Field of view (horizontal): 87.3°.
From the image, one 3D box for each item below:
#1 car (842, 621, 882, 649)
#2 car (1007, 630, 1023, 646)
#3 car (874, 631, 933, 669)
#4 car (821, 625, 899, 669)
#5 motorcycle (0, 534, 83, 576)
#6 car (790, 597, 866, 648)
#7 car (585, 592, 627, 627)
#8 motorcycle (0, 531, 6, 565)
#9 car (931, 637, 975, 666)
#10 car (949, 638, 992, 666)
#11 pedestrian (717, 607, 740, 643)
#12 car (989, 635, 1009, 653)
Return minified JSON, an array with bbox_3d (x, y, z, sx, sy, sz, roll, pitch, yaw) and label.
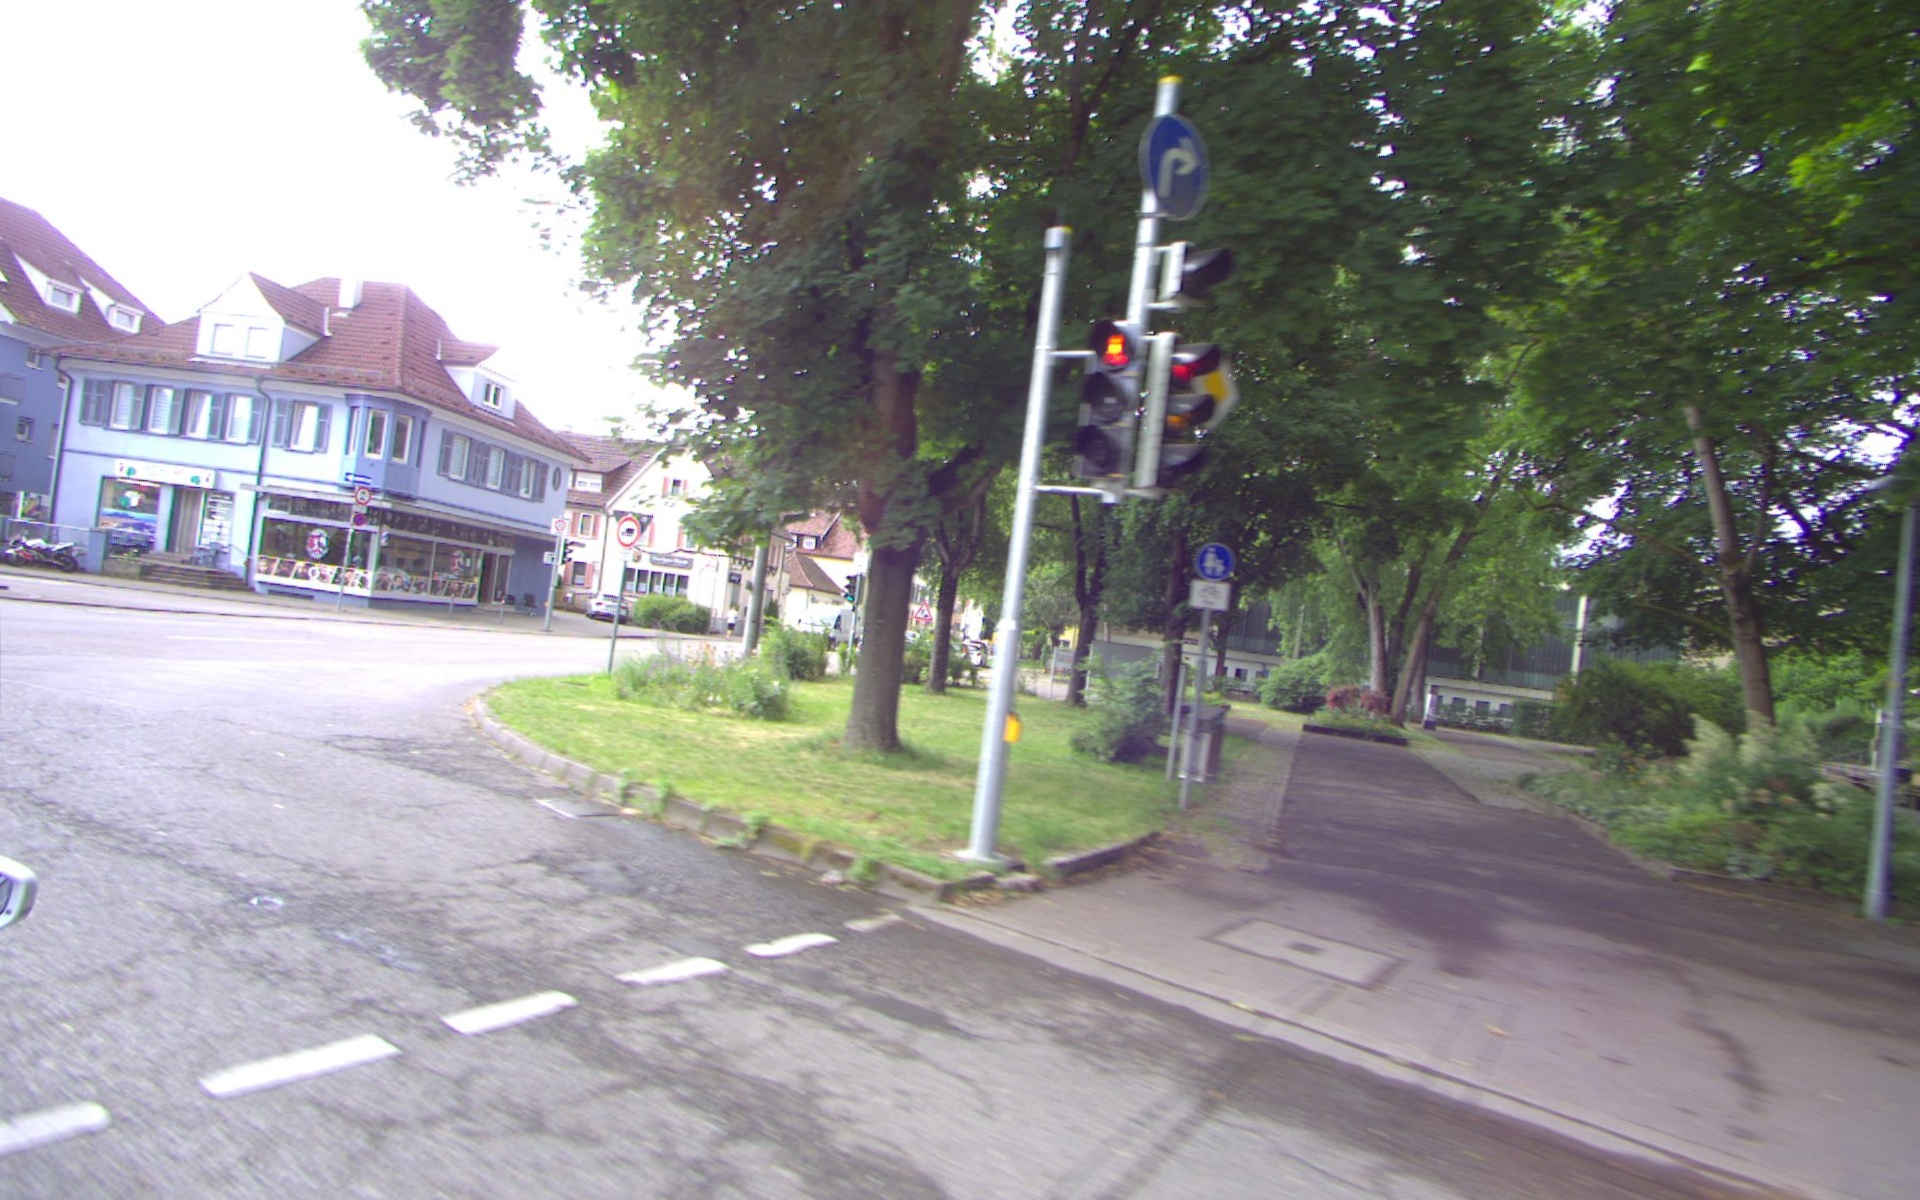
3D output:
[{"bbox_3d":[-7.018,2.558,72.375,1.902,1.748,3.785,7,-2,8],"label":"car"},{"bbox_3d":[7.941,5.536,144.500,1.962,2.037,4.004,7,-2,6],"label":"car"},{"bbox_3d":[-2.566,2.322,46.741,1.767,1.473,3.963,6,-2,10],"label":"car"},{"bbox_3d":[-3.982,1.940,40.950,1.864,1.473,4.552,6,-2,10],"label":"car"},{"bbox_3d":[-27.946,-1.360,30.601,1.793,0.997,0.521,7,-1,-12],"label":"motorcycle"},{"bbox_3d":[-7.206,1.321,55.816,2.291,2.420,5.966,6,-2,10],"label":"car"},{"bbox_3d":[-17.671,0.442,50.162,1.551,1.479,3.421,8,-2,-24],"label":"car"},{"bbox_3d":[-30.213,-1.703,30.574,1.697,1.044,0.489,7,-1,-12],"label":"motorcycle"},{"bbox_3d":[-0.343,2.882,56.321,1.706,1.406,3.745,6,-2,10],"label":"car"},{"bbox_3d":[0.698,3.234,62.525,1.888,1.473,4.407,6,-2,10],"label":"car"},{"bbox_3d":[-11.638,1.285,50.577,0.743,1.717,0.647,7,-1,6],"label":"pedestrian"},{"bbox_3d":[4.900,5.546,125.939,1.962,2.037,4.005,7,-2,9],"label":"car"}]
